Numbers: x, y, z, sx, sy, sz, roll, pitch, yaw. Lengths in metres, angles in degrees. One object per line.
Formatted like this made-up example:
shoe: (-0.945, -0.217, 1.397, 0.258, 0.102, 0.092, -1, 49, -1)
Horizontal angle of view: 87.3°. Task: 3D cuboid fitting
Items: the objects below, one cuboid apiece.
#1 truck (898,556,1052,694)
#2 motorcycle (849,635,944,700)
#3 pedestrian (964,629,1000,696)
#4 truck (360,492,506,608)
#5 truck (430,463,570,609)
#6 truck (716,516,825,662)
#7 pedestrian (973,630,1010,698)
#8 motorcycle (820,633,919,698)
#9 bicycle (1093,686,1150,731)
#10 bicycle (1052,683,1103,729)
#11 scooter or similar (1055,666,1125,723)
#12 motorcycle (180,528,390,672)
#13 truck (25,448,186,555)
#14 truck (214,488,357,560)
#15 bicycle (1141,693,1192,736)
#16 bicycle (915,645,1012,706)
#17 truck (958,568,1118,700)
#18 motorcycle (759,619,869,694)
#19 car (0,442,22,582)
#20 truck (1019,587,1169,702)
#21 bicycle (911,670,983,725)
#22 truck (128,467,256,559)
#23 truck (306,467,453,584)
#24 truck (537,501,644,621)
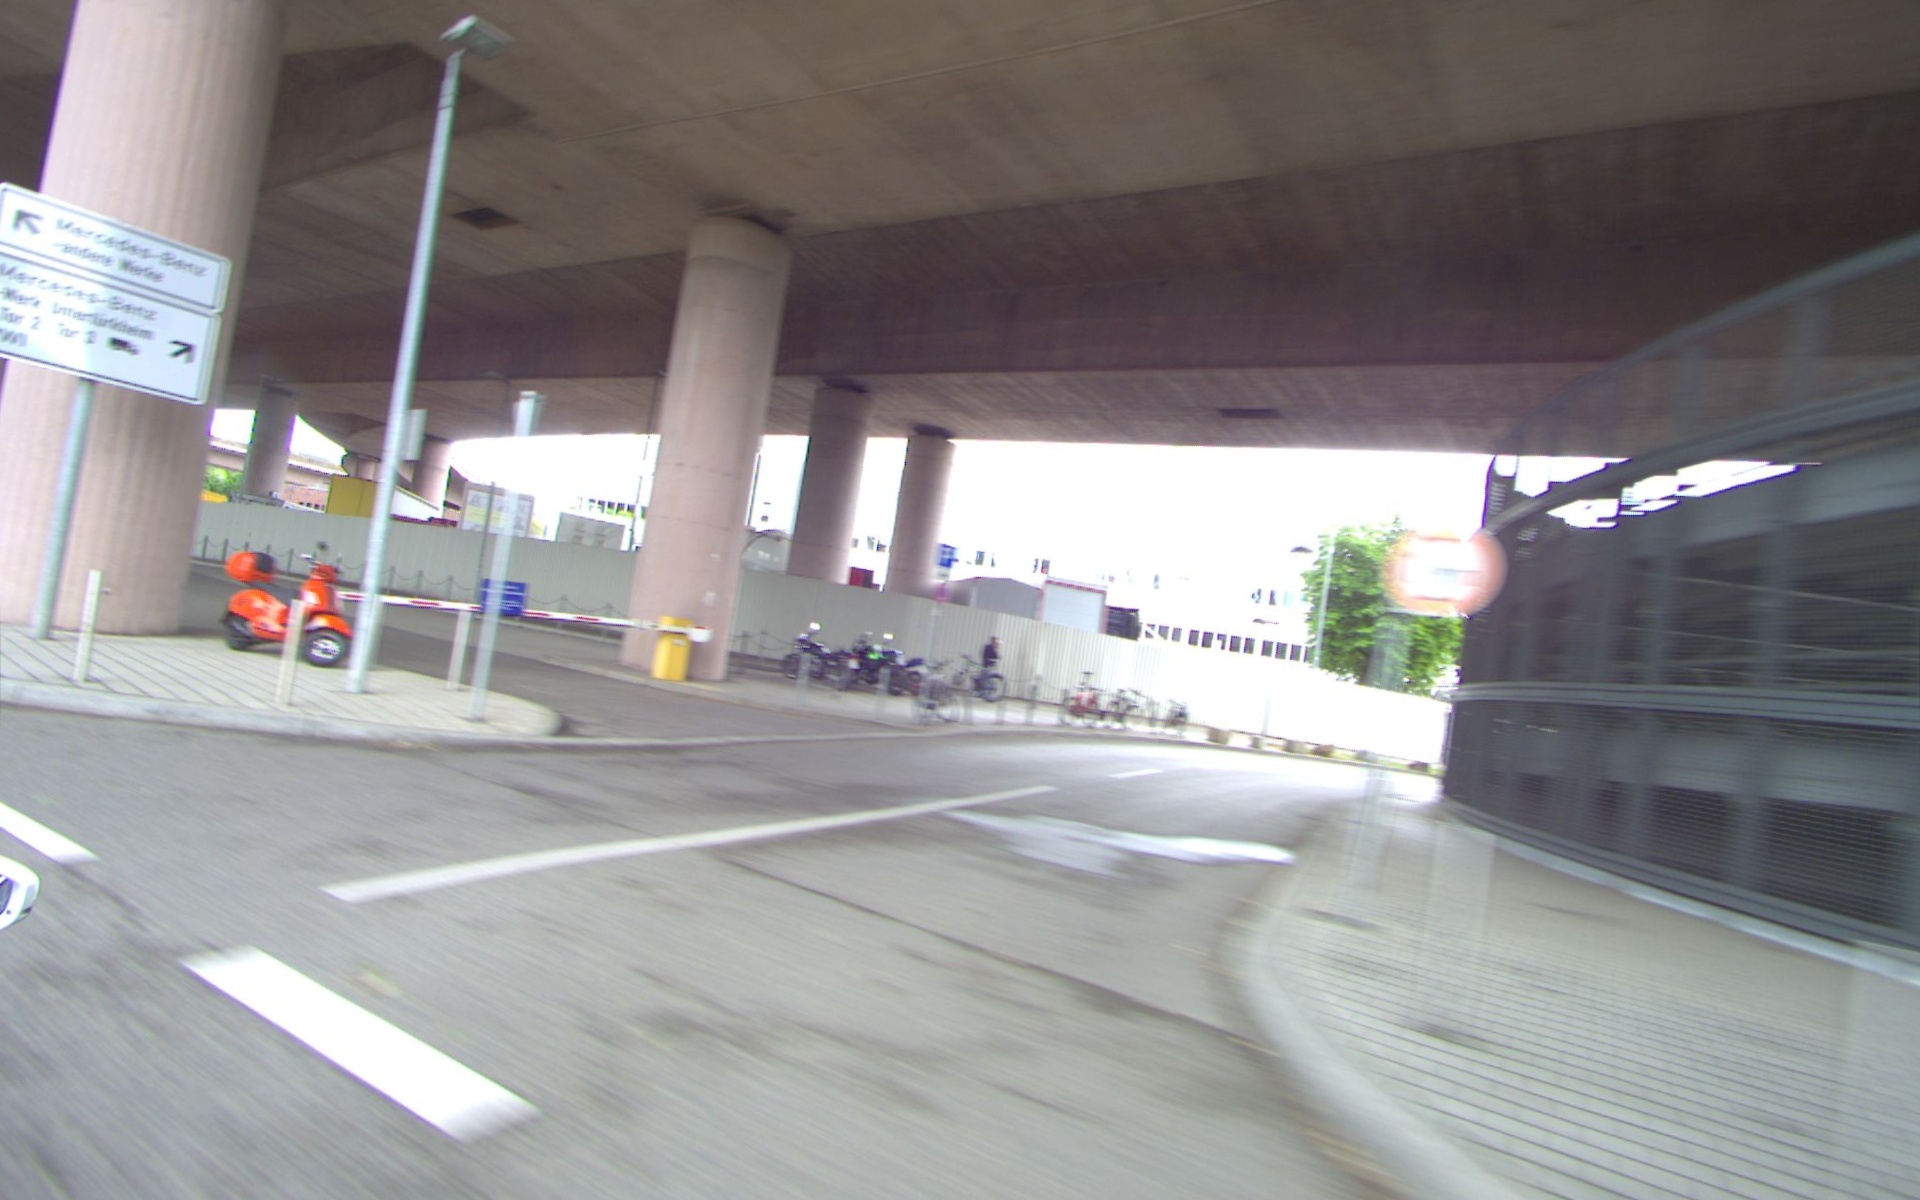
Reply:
truck: (0.263, 0.816, 37.502, 2.867, 4.206, 8.744, 8, -2, -16)
motorcycle: (-1.599, 1.662, 24.933, 2.291, 1.118, 0.573, 12, 1, 32)
pedestrian: (0.648, 1.819, 29.405, 0.641, 1.847, 0.500, 10, -2, -44)
truck: (-23.209, -1.971, 45.065, 2.853, 4.231, 10.044, 8, -2, -13)
truck: (-18.984, -2.368, 42.317, 3.100, 4.980, 9.701, 8, -2, -14)
truck: (-7.295, -0.327, 37.681, 2.966, 4.353, 10.275, 8, -2, -13)
pedestrian: (0.907, 1.837, 28.913, 0.500, 1.847, 0.692, 7, -2, 45)
motorcycle: (-2.176, 1.546, 23.979, 2.289, 1.118, 0.544, 9, -1, 30)
bicycle: (4.308, 2.903, 26.761, 0.390, 1.034, 2.057, 9, -3, 39)
bicycle: (2.931, 2.636, 24.909, 0.429, 0.993, 1.734, 9, -2, 32)
scooter or similar: (3.622, 2.640, 28.107, 1.656, 1.232, 0.542, 12, 0, -14)
motorcycle: (-8.049, 0.006, 12.005, 2.089, 1.382, 0.799, 8, -1, 17)
truck: (-50.931, -5.668, 60.383, 3.099, 4.971, 8.702, 9, -3, -13)
truck: (-35.852, -3.895, 53.921, 3.096, 2.980, 8.697, 6, 0, -12)
bicycle: (5.822, 3.235, 28.370, 0.431, 1.035, 1.728, 8, -2, 44)
bicycle: (0.092, 1.984, 26.401, 2.298, 1.118, 0.618, 12, 0, -17)
truck: (2.752, 1.195, 39.382, 2.867, 4.286, 8.744, 8, -2, -16)
motorcycle: (-3.286, 1.242, 22.517, 2.498, 1.249, 0.782, 9, 0, 38)
car: (-21.059, -2.039, 20.378, 5.985, 2.643, 1.994, 7, -2, 39)
truck: (5.658, 1.791, 44.676, 2.867, 4.286, 8.744, 8, -2, -16)
bicycle: (-0.222, 1.906, 19.448, 0.411, 0.936, 2.020, 9, -2, 25)
truck: (-53.052, -5.835, 69.861, 3.099, 4.956, 8.702, 9, -3, -13)
truck: (-27.547, -3.296, 48.402, 3.099, 4.494, 9.701, 8, -2, -14)
truck: (-15.610, -1.475, 43.258, 2.771, 4.206, 9.906, 8, -2, -14)
